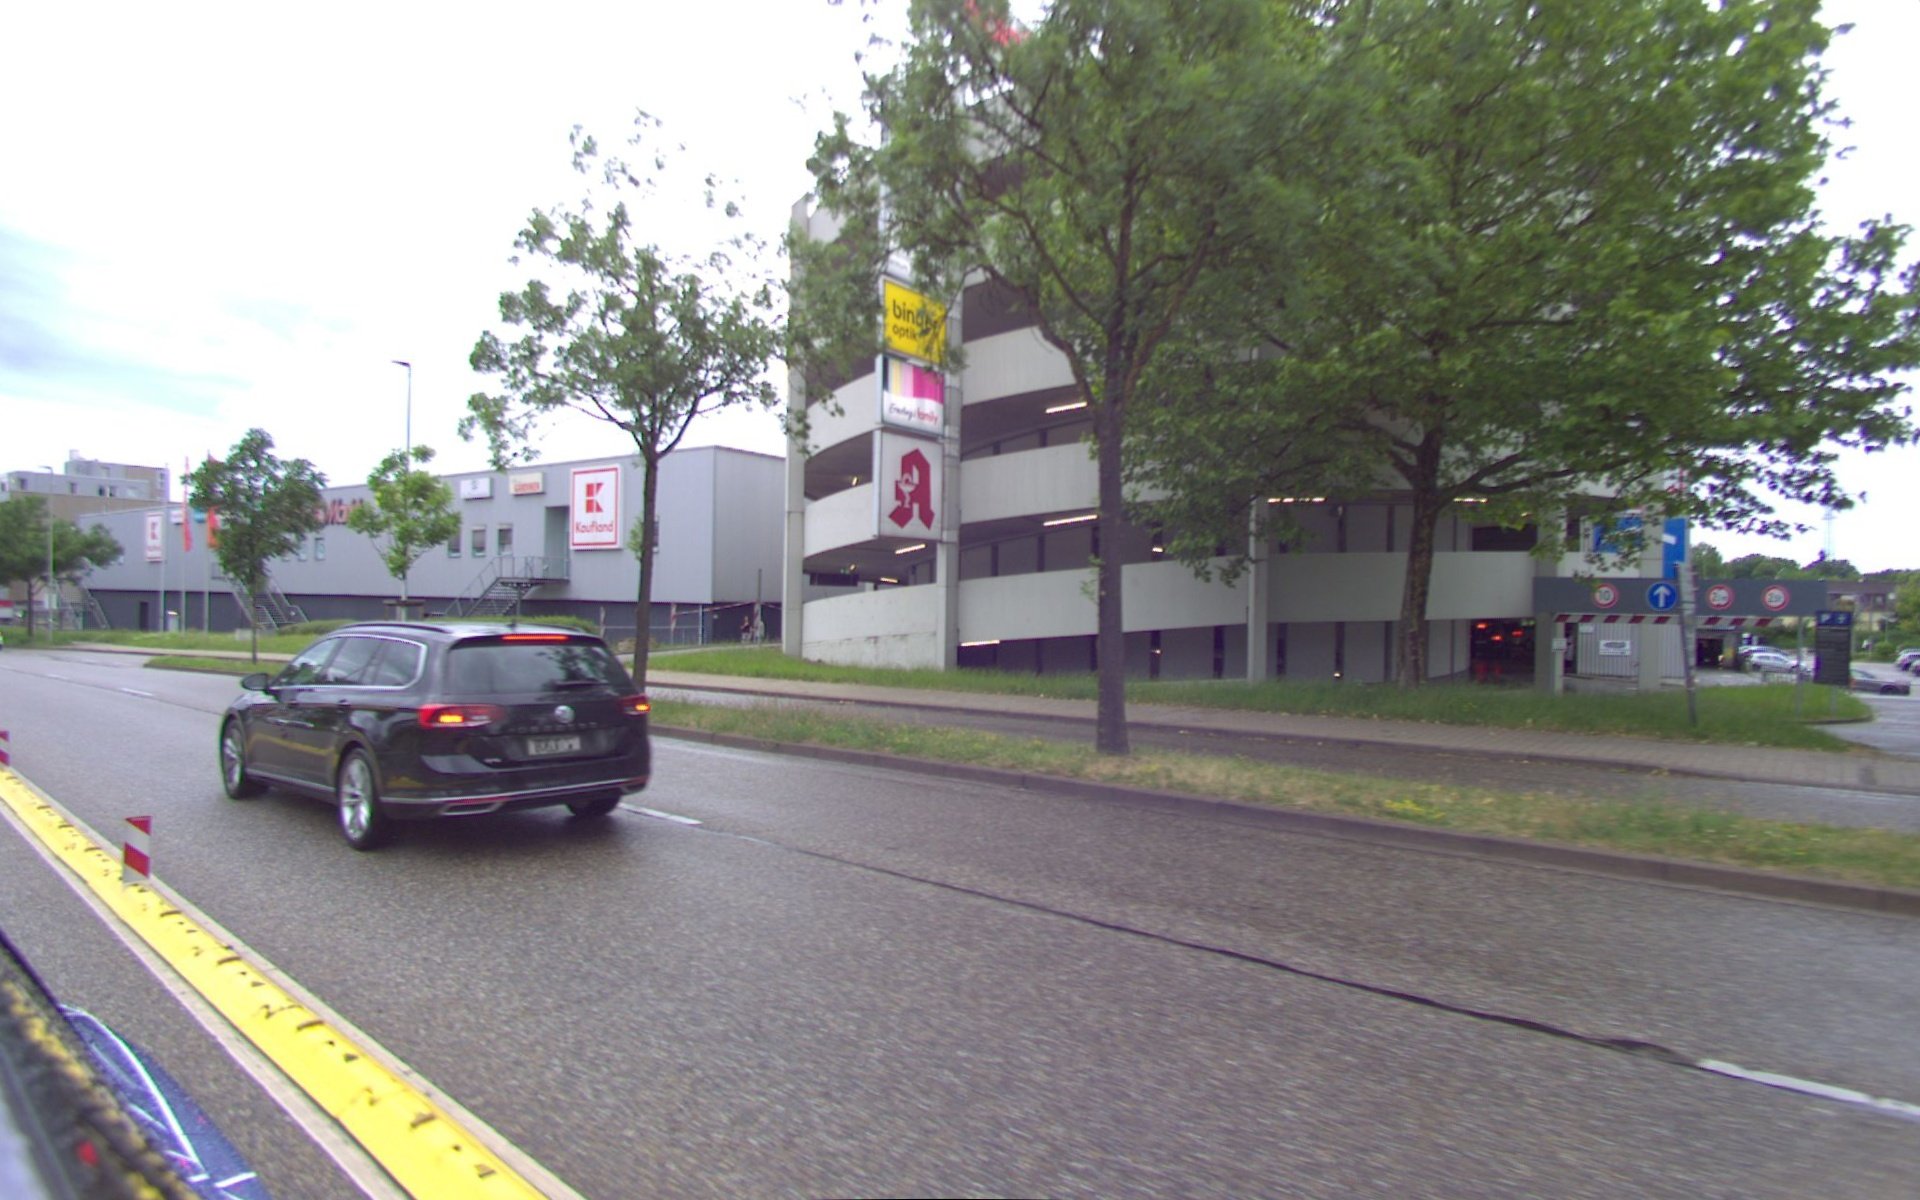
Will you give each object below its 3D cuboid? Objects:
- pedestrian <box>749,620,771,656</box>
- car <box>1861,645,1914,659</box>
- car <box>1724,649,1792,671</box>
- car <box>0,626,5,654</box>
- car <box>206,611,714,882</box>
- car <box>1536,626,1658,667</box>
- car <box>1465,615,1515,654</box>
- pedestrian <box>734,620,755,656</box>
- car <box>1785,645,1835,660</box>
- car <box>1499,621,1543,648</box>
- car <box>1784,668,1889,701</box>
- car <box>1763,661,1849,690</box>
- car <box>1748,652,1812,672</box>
[{"bbox_3d":[-8.990,1.723,45.467,0.856,1.587,0.447,-1,1,24],"label":"pedestrian"},{"bbox_3d":[101.866,5.691,111.199,3.992,1.522,1.778,-1,-2,36],"label":"car"},{"bbox_3d":[60.792,4.566,77.110,3.998,1.522,1.775,-1,-2,41],"label":"car"},{"bbox_3d":[-52.224,2.120,53.312,4.412,1.419,1.883,-2,-3,34],"label":"car"},{"bbox_3d":[-4.029,0.864,7.753,4.613,1.477,1.808,-1,-3,41],"label":"car"},{"bbox_3d":[25.485,1.852,40.567,3.787,1.473,1.754,-1,1,-3],"label":"car"},{"bbox_3d":[26.311,1.674,50.204,1.856,1.708,3.955,-1,1,33],"label":"car"},{"bbox_3d":[-9.787,1.729,46.033,0.860,1.587,0.445,-1,1,38],"label":"pedestrian"},{"bbox_3d":[94.094,5.831,112.085,3.992,1.522,1.778,-1,-2,36],"label":"car"},{"bbox_3d":[33.079,2.016,59.638,1.796,1.522,3.952,-1,-2,35],"label":"car"},{"bbox_3d":[46.310,4.450,53.585,3.990,1.522,1.779,-1,-2,35],"label":"car"},{"bbox_3d":[52.679,4.694,63.106,3.994,1.521,1.777,0,1,38],"label":"car"},{"bbox_3d":[67.564,5.066,83.464,3.993,1.522,1.777,-1,-2,37],"label":"car"}]
